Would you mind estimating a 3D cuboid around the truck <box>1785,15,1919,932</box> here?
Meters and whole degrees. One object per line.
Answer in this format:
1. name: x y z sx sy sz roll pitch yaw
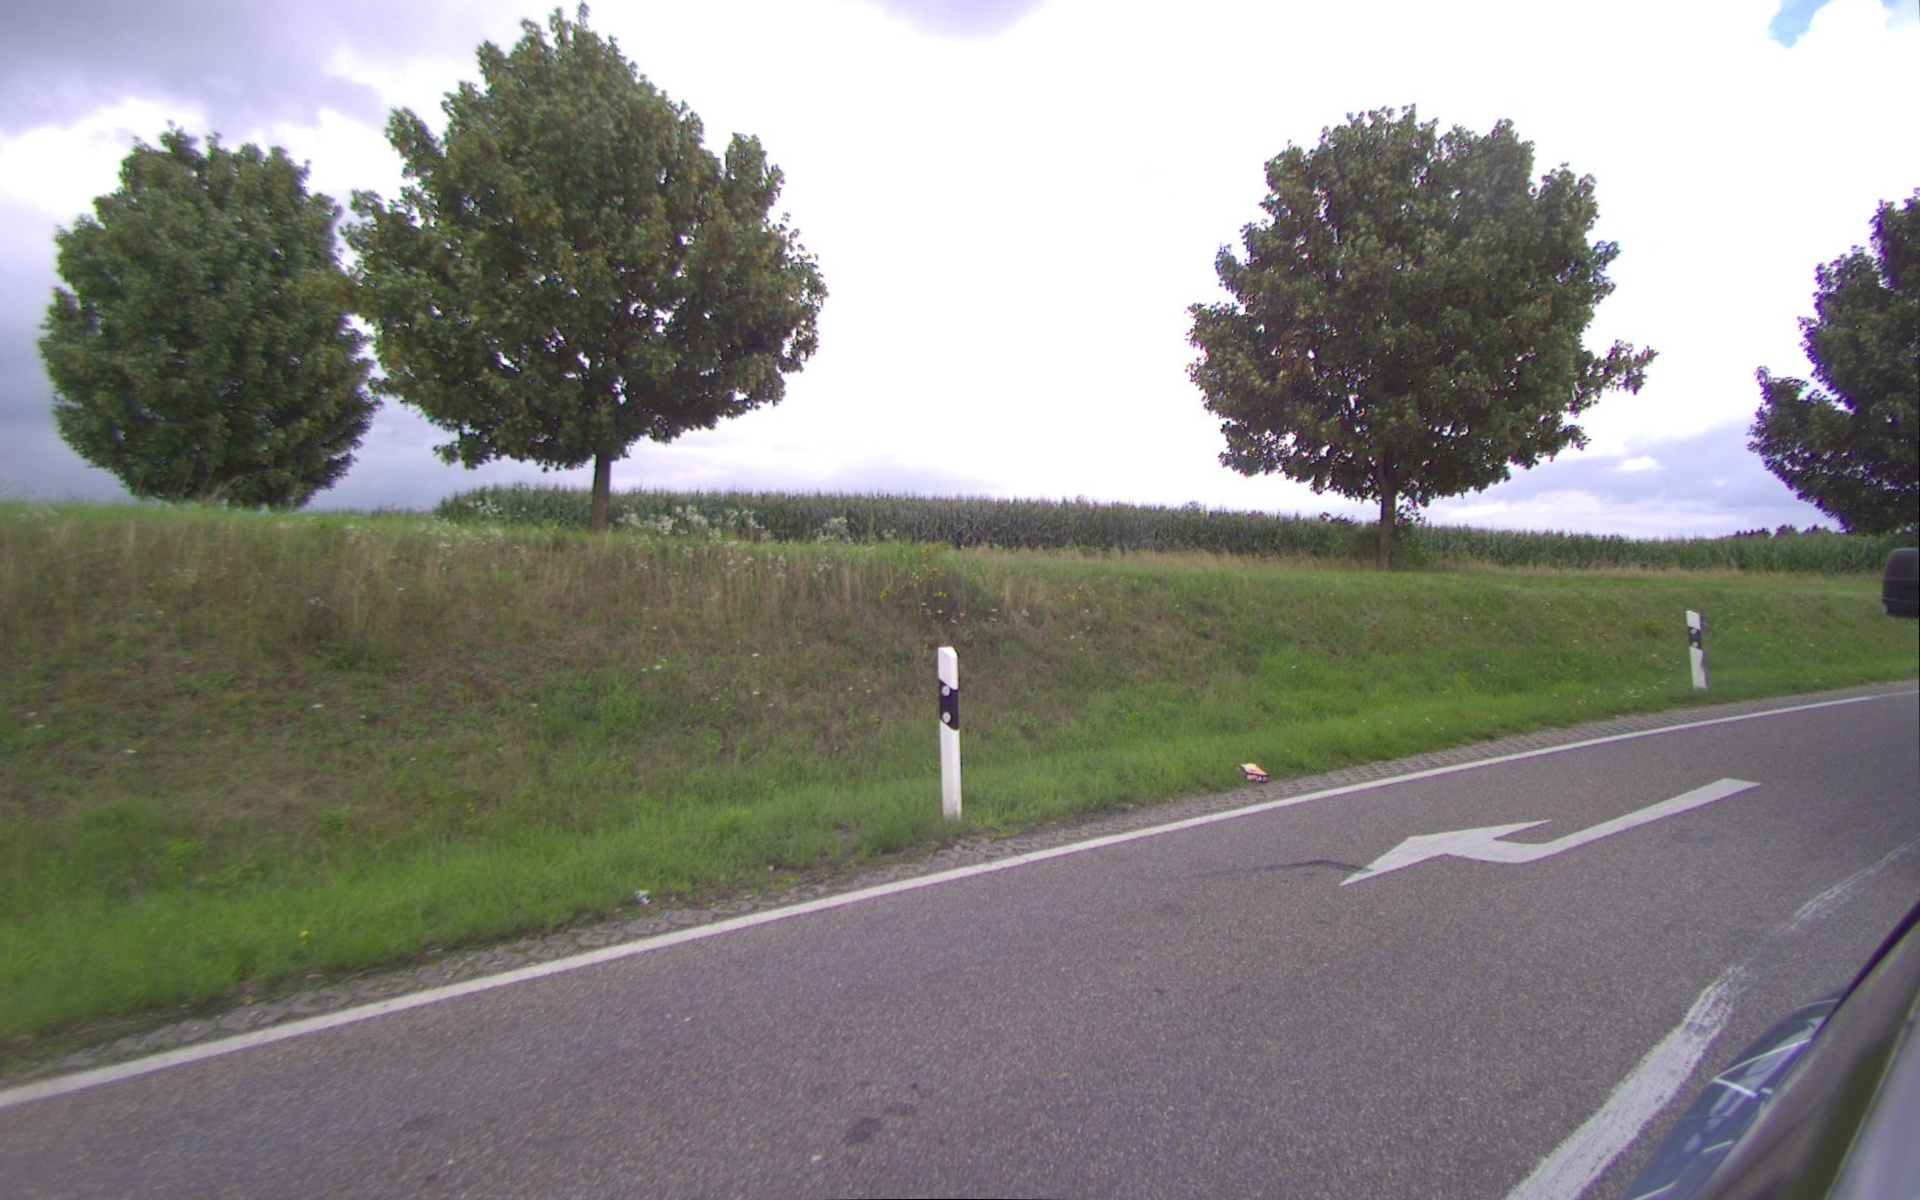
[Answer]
1. truck: 8.006 -0.609 6.070 8.640 3.809 2.838 -2 3 -38
